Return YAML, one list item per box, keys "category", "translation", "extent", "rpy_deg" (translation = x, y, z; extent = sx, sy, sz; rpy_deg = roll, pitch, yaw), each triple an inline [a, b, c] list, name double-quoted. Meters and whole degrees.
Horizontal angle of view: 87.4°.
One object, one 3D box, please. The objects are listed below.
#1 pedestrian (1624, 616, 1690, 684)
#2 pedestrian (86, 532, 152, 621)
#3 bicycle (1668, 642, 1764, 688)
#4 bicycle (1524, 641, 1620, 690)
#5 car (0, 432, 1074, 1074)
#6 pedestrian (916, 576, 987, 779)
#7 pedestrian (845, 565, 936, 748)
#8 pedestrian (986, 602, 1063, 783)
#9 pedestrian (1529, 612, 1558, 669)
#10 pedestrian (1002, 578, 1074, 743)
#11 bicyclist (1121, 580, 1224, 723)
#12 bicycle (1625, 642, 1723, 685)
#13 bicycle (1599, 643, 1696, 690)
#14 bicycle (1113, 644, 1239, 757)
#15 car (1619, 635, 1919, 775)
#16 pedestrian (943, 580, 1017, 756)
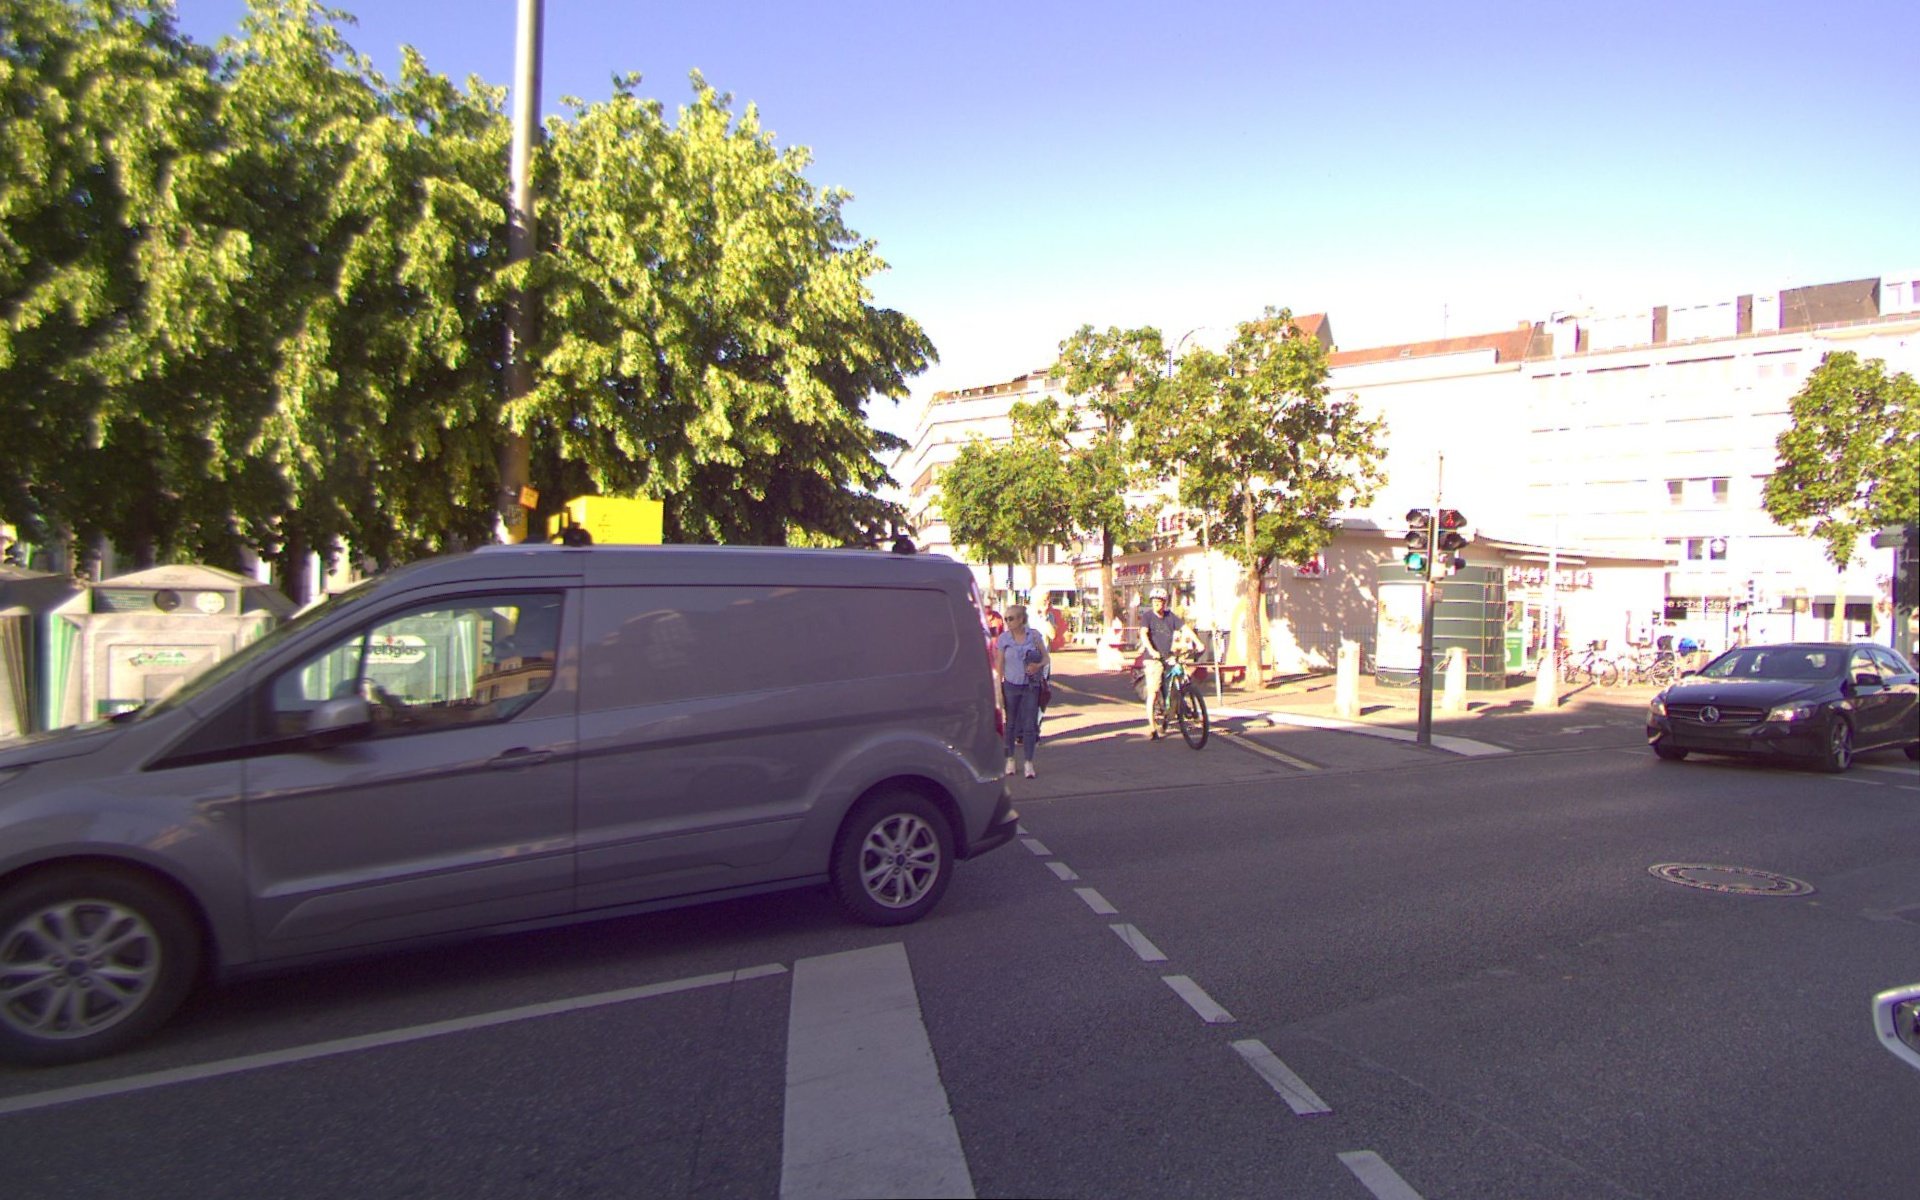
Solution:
- category: "pedestrian"
  translation: [18.335, 1.308, 26.451]
  extent: [0.888, 1.720, 1.082]
  rpy_deg: [2, 0, -16]
- category: "pedestrian"
  translation: [-29.686, -0.810, 35.486]
  extent: [1.513, 3.018, 1.732]
  rpy_deg: [1, 0, -33]
- category: "bicycle"
  translation: [20.894, 1.775, 27.802]
  extent: [0.744, 1.102, 1.980]
  rpy_deg: [2, 0, -28]
- category: "bicycle"
  translation: [14.725, 1.561, 24.225]
  extent: [0.754, 1.016, 1.881]
  rpy_deg: [2, 0, -21]
- category: "car"
  translation: [-1.923, 0.554, 4.891]
  extent: [4.729, 1.972, 1.984]
  rpy_deg: [2, -3, -31]
- category: "pedestrian"
  translation: [-0.070, 0.728, 9.708]
  extent: [0.612, 1.882, 0.652]
  rpy_deg: [2, 0, 2]
- category: "pedestrian"
  translation: [-0.773, 0.608, 11.118]
  extent: [0.774, 1.944, 0.605]
  rpy_deg: [1, 0, -28]
- category: "pedestrian"
  translation: [0.622, 0.874, 9.819]
  extent: [0.683, 1.696, 0.688]
  rpy_deg: [2, 0, 2]
- category: "pedestrian"
  translation: [17.972, 1.250, 30.925]
  extent: [0.604, 1.732, 0.516]
  rpy_deg: [2, -1, -30]
- category: "pedestrian"
  translation: [0.907, 0.686, 11.675]
  extent: [0.768, 1.836, 0.589]
  rpy_deg: [2, 0, 5]
- category: "bicyclist"
  translation: [2.596, 0.616, 12.358]
  extent: [0.975, 1.670, 0.804]
  rpy_deg: [2, 0, -8]
- category: "bicycle"
  translation: [18.923, 1.674, 26.683]
  extent: [0.873, 1.015, 2.012]
  rpy_deg: [2, 0, -15]
- category: "bicycle"
  translation: [17.146, 1.642, 25.095]
  extent: [0.754, 1.016, 1.881]
  rpy_deg: [2, 0, -21]
- category: "bicycle"
  translation: [2.583, 1.176, 12.317]
  extent: [0.750, 1.086, 2.172]
  rpy_deg: [2, 2, -8]
- category: "car"
  translation: [10.050, 1.193, 12.164]
  extent: [4.205, 1.441, 1.741]
  rpy_deg: [2, -4, -30]
- category: "pedestrian"
  translation: [0.230, 0.716, 10.978]
  extent: [0.577, 1.836, 0.784]
  rpy_deg: [2, 0, 16]
